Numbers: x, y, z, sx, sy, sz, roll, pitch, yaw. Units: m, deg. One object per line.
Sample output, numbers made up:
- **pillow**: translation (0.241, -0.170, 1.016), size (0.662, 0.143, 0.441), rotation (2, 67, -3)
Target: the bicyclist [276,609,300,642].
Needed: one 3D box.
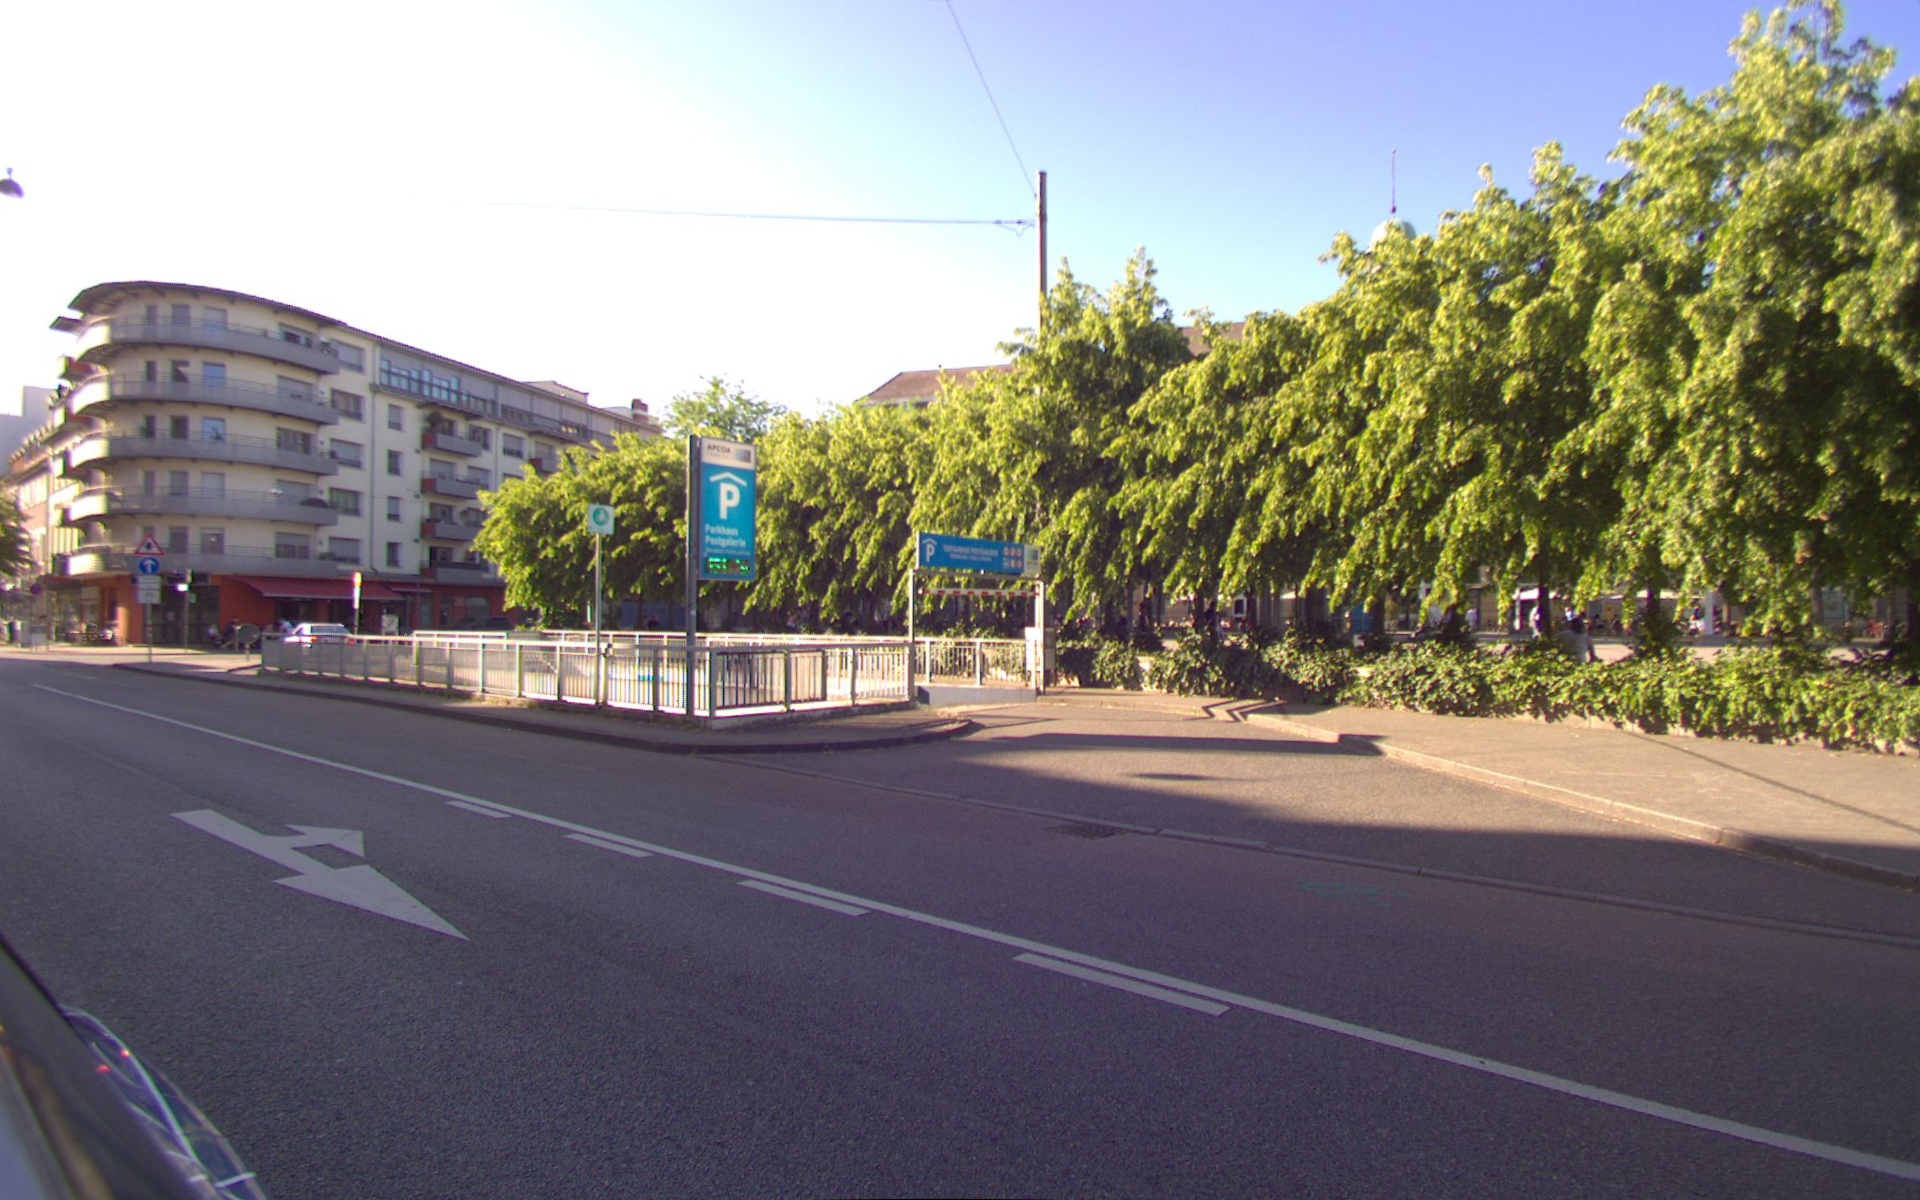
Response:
- **bicyclist**: translation (-33.064, 1.247, 49.803), size (0.522, 1.559, 0.792), rotation (-1, 0, 25)

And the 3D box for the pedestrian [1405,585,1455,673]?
- **pedestrian**: translation (9.042, 0.547, 19.483), size (0.645, 1.661, 0.626), rotation (-1, 0, -35)

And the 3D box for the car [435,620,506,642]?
- **car**: translation (-30.507, 1.897, 63.210), size (1.742, 1.311, 3.977), rotation (-1, -1, 17)

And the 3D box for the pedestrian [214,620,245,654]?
- **pedestrian**: translation (-35.690, 1.790, 49.448), size (0.877, 1.607, 0.861), rotation (-1, 0, 2)

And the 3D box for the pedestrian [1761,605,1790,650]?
- **pedestrian**: translation (31.313, 1.050, 38.872), size (0.640, 1.734, 0.606), rotation (-1, 0, 13)

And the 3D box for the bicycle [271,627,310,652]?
- **bicycle**: translation (-33.015, 1.938, 49.901), size (0.524, 1.179, 1.580), rotation (-1, 0, 24)

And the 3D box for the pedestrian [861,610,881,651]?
- **pedestrian**: translation (-3.824, 1.319, 43.612), size (0.604, 1.734, 0.642), rotation (-1, 0, 21)

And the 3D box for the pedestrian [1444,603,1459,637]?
- **pedestrian**: translation (25.535, 1.020, 52.560), size (0.643, 1.734, 0.603), rotation (-1, 0, 26)

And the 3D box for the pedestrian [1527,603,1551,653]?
- **pedestrian**: translation (20.584, 0.989, 36.002), size (0.643, 1.734, 0.604), rotation (-1, 0, 22)

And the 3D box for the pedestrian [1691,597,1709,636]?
- **pedestrian**: translation (37.243, 0.828, 50.950), size (0.676, 1.963, 0.632), rotation (-1, 0, 38)

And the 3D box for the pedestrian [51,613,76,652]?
- **pedestrian**: translation (-46.690, 1.679, 52.712), size (0.888, 2.029, 0.850), rotation (-1, 0, 40)

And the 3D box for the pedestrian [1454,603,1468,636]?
- **pedestrian**: translation (26.571, 1.045, 53.679), size (0.643, 1.734, 0.603), rotation (-1, 0, 26)

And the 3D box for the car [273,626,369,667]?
- **car**: translation (-24.035, 1.724, 38.022), size (4.262, 1.363, 1.800), rotation (0, -3, 40)

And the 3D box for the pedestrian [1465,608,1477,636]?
- **pedestrian**: translation (32.774, 1.412, 64.914), size (0.642, 1.734, 0.604), rotation (-1, 0, 20)

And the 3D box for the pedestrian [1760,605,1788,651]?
- **pedestrian**: translation (31.157, 1.052, 38.752), size (0.641, 1.734, 0.605), rotation (-1, 0, 18)
